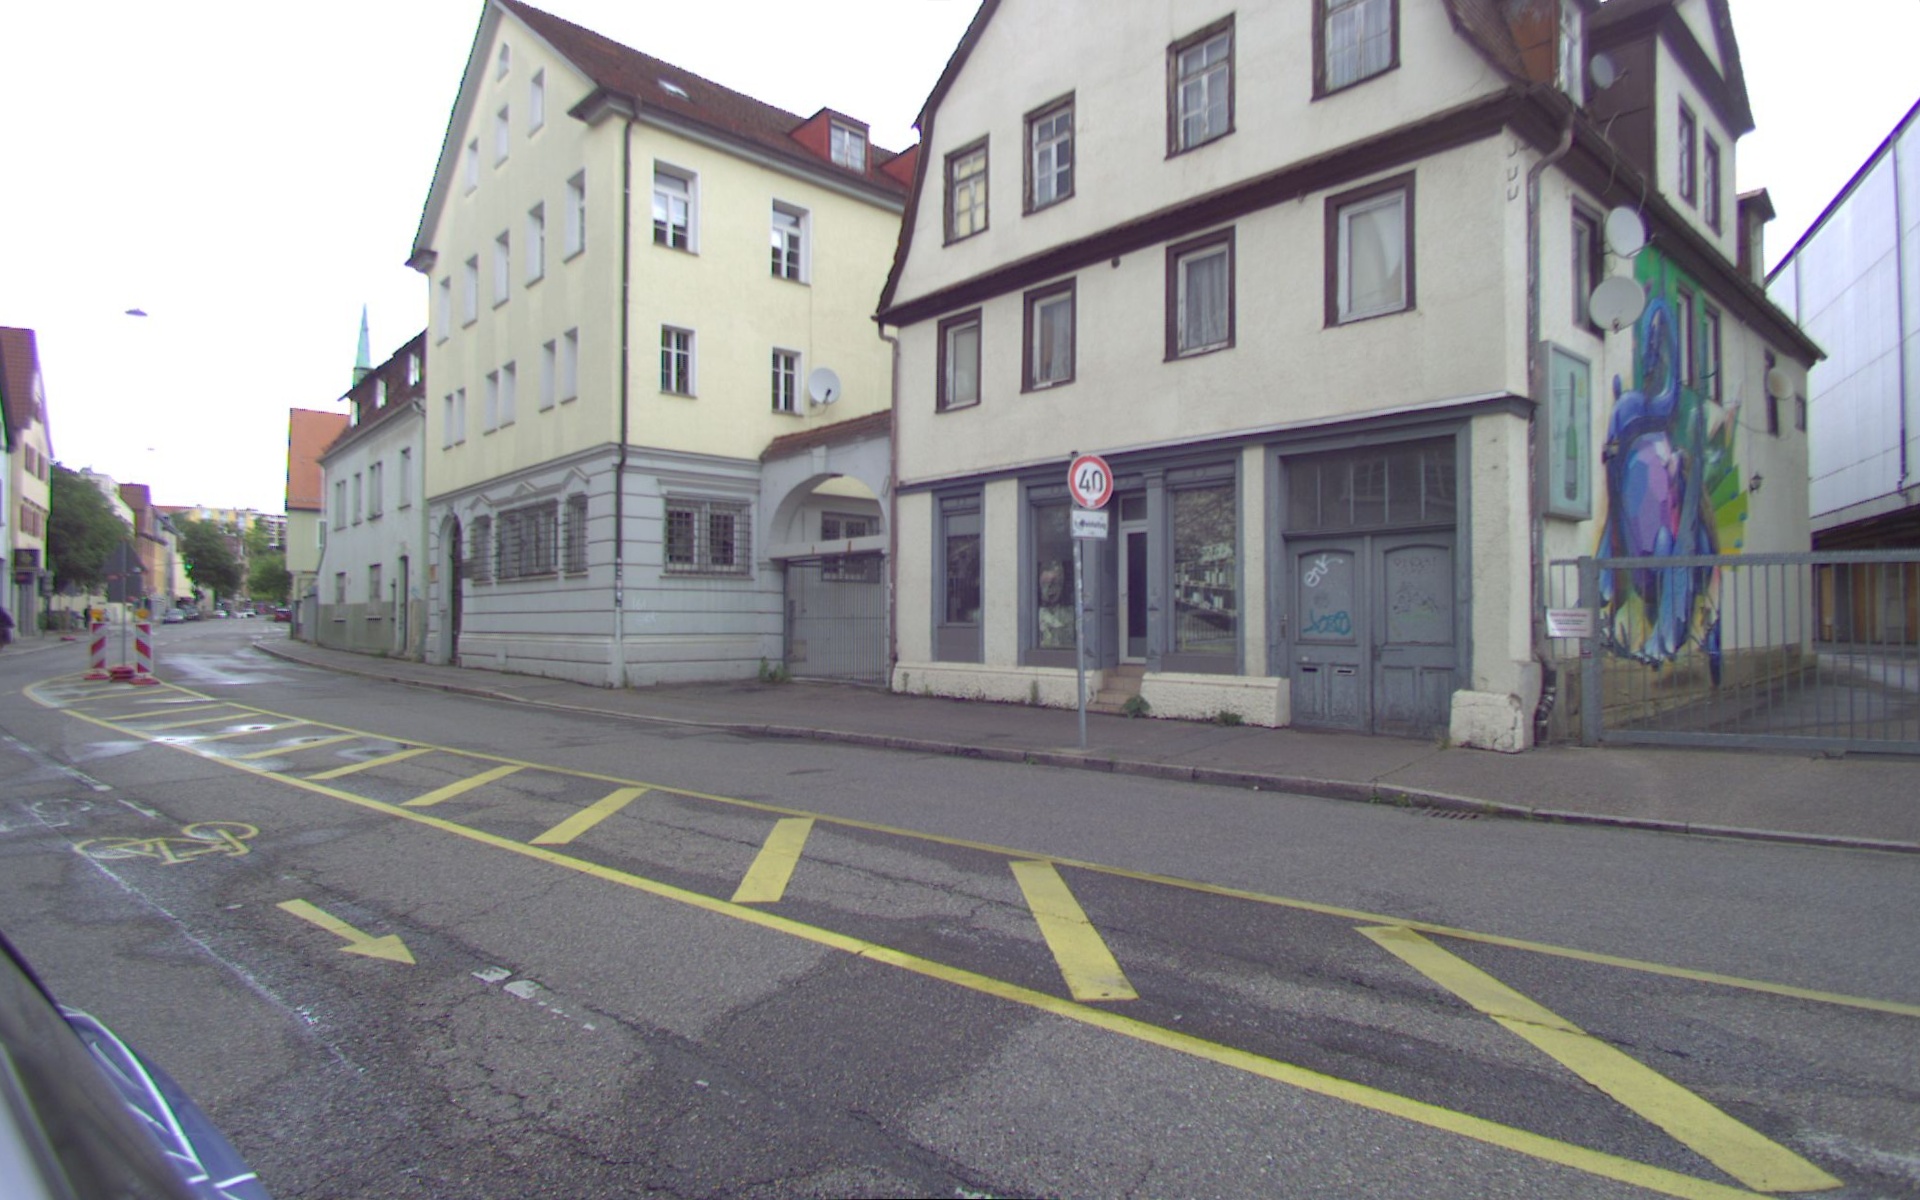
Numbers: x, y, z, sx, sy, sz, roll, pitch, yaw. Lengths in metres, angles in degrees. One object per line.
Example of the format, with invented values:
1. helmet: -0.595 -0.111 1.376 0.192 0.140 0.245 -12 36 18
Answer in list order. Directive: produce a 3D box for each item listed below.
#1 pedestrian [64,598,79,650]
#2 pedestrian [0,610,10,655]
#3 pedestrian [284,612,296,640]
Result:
1. pedestrian: -43.707 1.175 49.781 0.487 2.547 0.747 1 -2 -38
2. pedestrian: -35.182 1.180 36.869 0.714 1.625 0.650 -1 -2 -35
3. pedestrian: -43.053 1.684 65.033 0.583 1.793 0.506 1 -2 -36
